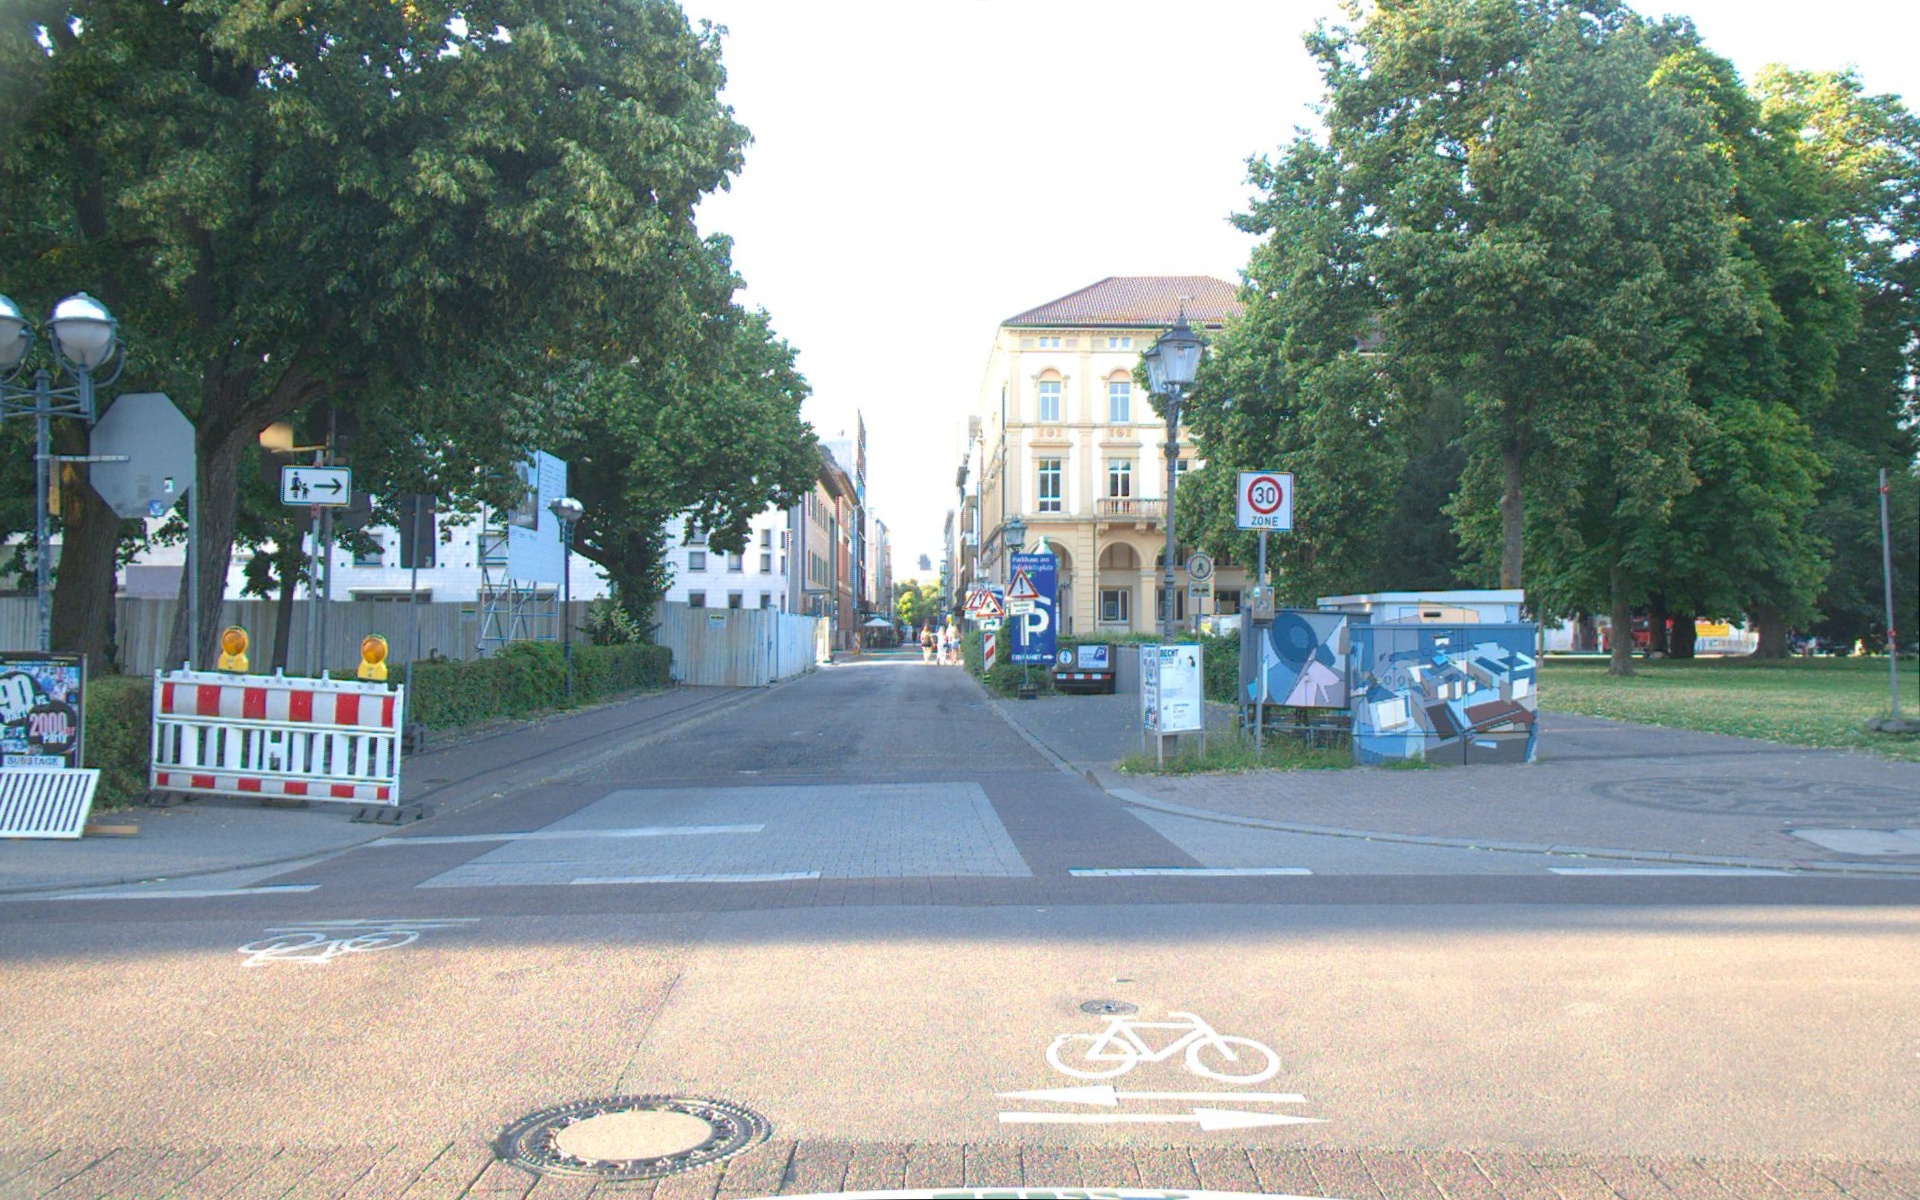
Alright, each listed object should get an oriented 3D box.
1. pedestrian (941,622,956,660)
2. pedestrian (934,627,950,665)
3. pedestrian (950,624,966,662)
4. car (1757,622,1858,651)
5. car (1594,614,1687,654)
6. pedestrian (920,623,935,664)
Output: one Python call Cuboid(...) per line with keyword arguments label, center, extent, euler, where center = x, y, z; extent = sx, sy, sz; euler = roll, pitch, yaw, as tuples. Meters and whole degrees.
Cuboid(label="pedestrian", center=(-0.530, 1.819, 73.504), extent=(0.644, 1.664, 0.745), euler=(-1, -1, -1))
Cuboid(label="pedestrian", center=(-0.794, 1.997, 72.514), extent=(0.644, 1.645, 0.745), euler=(-1, -1, -1))
Cuboid(label="pedestrian", center=(-0.089, 1.869, 72.464), extent=(0.644, 1.645, 0.745), euler=(-1, -1, -1))
Cuboid(label="car", center=(38.074, 1.626, 74.349), extent=(3.506, 1.262, 1.996), euler=(0, -1, -8))
Cuboid(label="car", center=(35.321, 1.756, 85.920), extent=(3.949, 2.049, 2.000), euler=(-1, -1, 0))
Cuboid(label="pedestrian", center=(-1.454, 1.934, 73.616), extent=(0.644, 1.791, 0.745), euler=(-1, -1, -1))
